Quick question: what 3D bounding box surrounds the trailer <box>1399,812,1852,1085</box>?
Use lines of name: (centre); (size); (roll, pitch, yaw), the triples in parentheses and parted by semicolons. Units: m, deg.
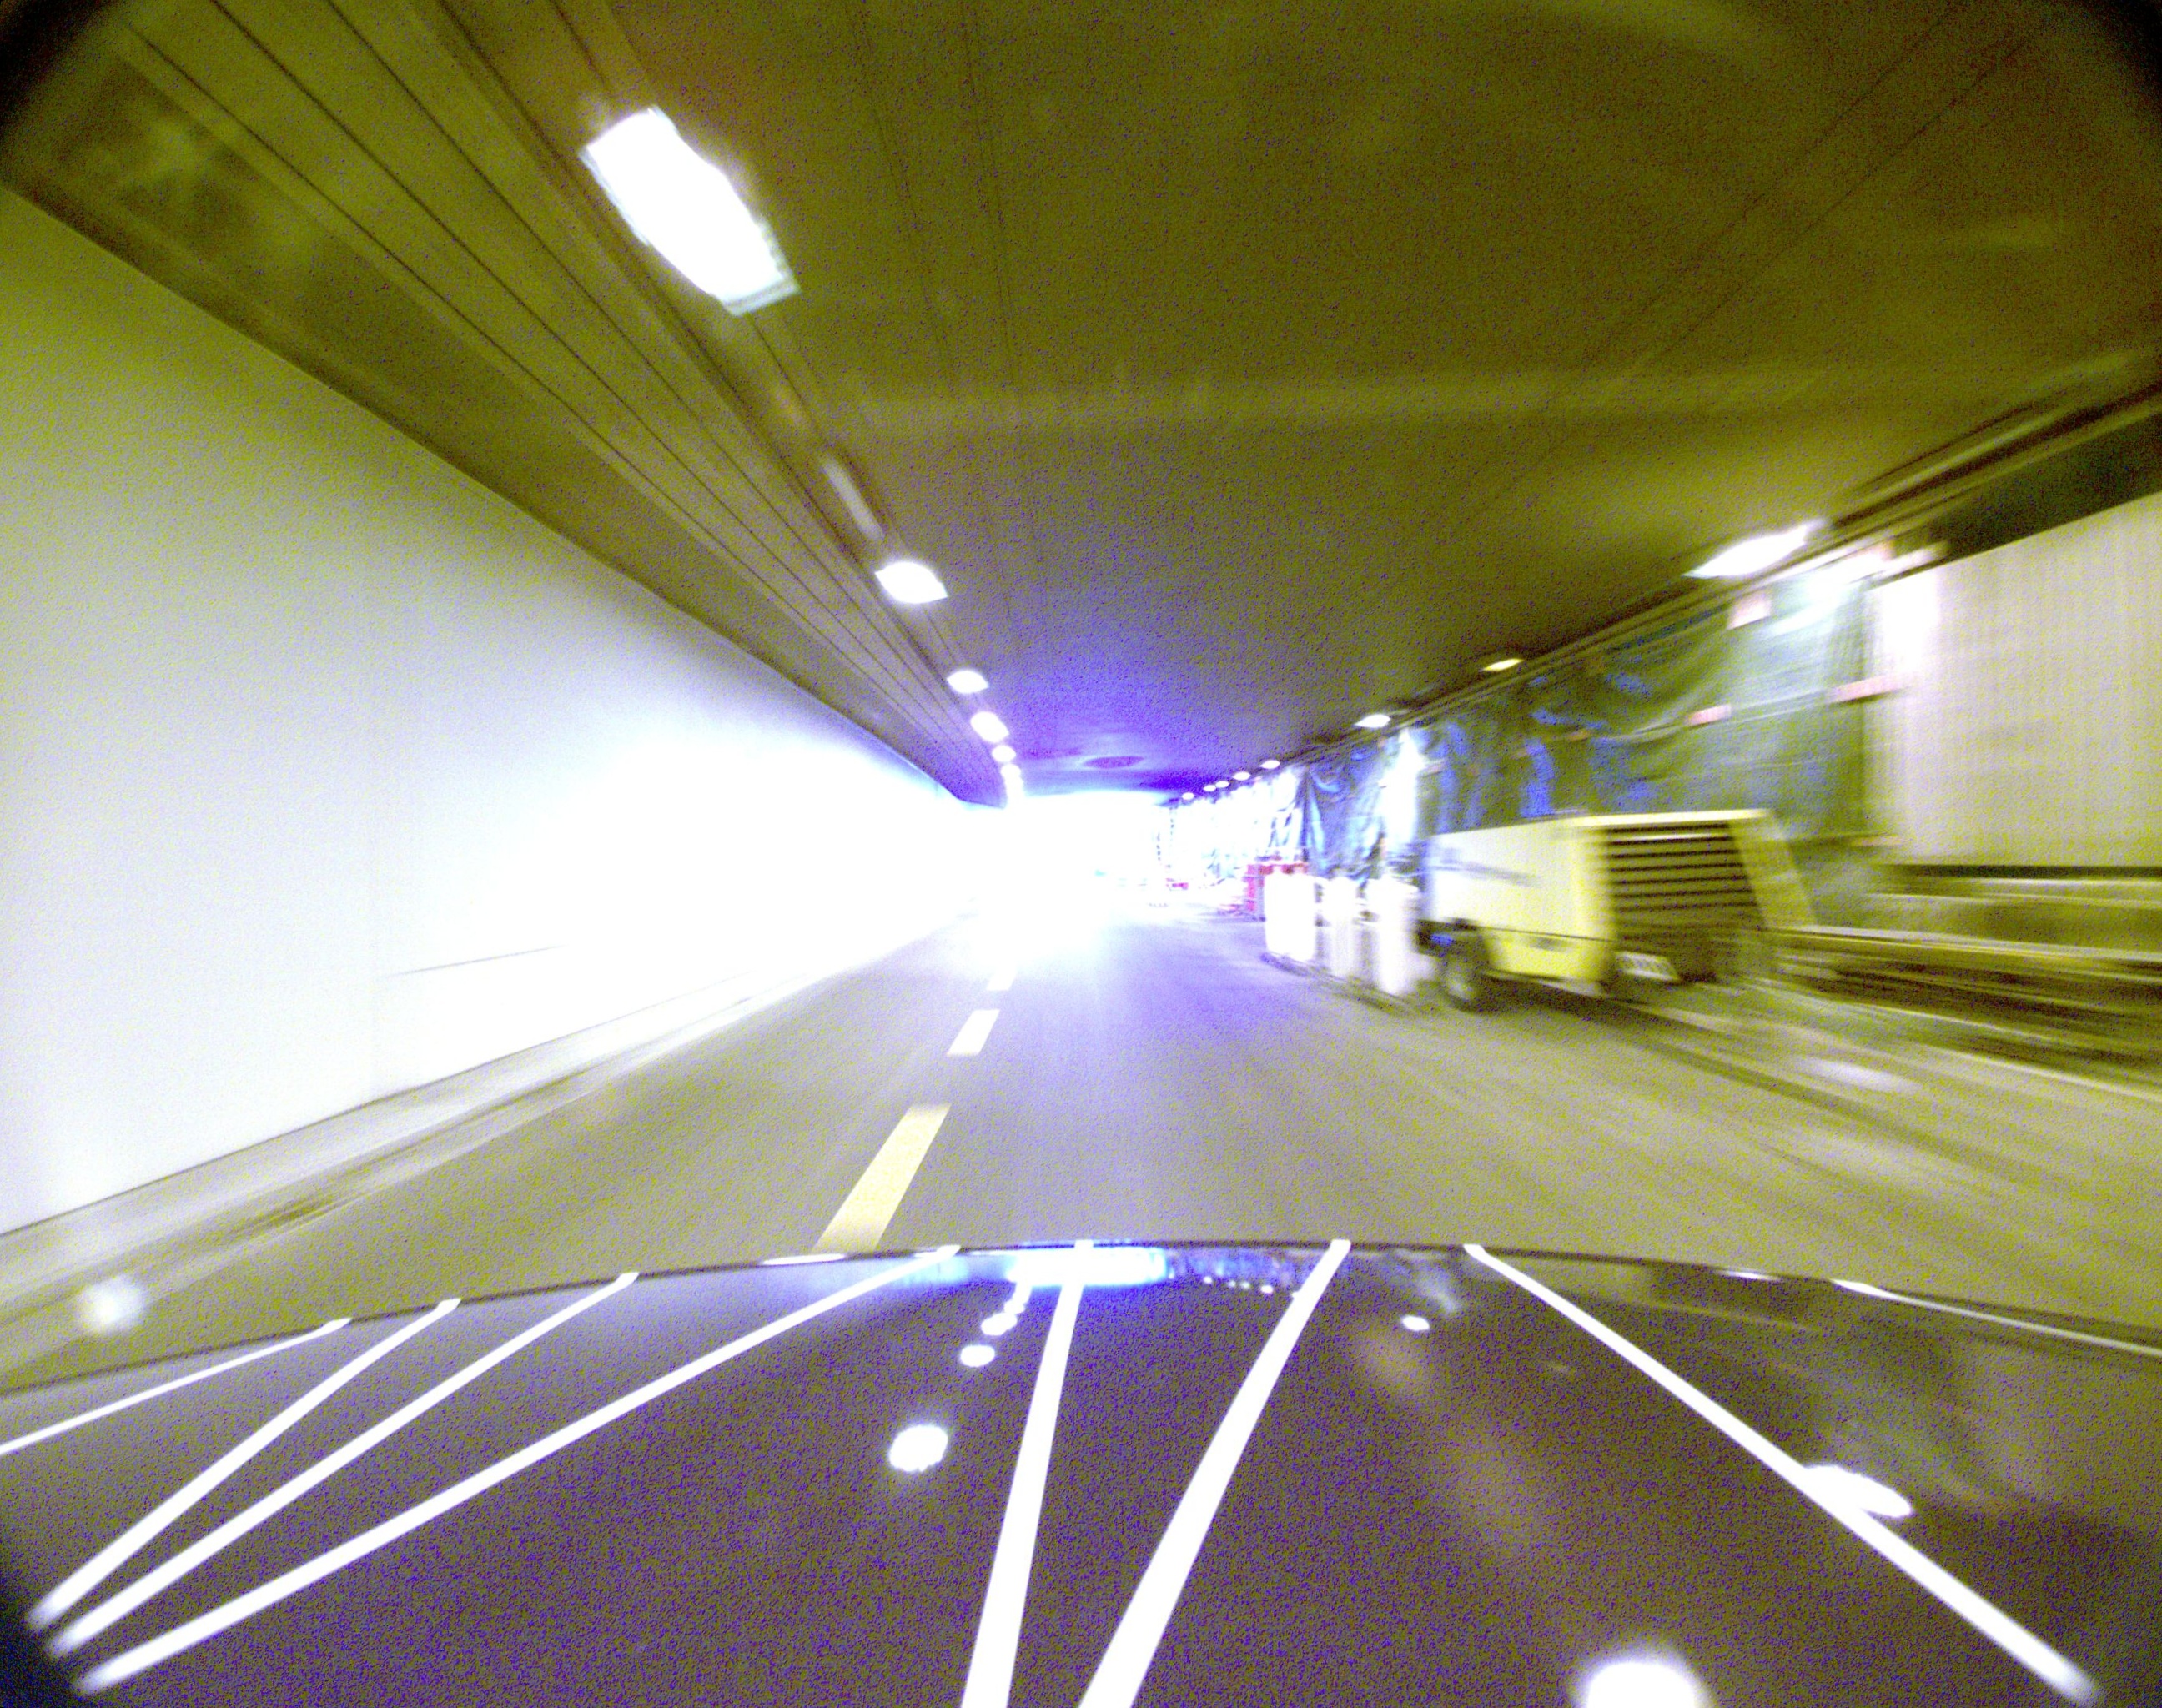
trailer: (4.331, 0.618, 6.674); (1.644, 1.781, 3.121); (-2, 1, -2)

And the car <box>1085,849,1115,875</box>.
car: (1.380, 0.569, 57.009); (1.999, 1.743, 3.999); (-2, 1, -1)
